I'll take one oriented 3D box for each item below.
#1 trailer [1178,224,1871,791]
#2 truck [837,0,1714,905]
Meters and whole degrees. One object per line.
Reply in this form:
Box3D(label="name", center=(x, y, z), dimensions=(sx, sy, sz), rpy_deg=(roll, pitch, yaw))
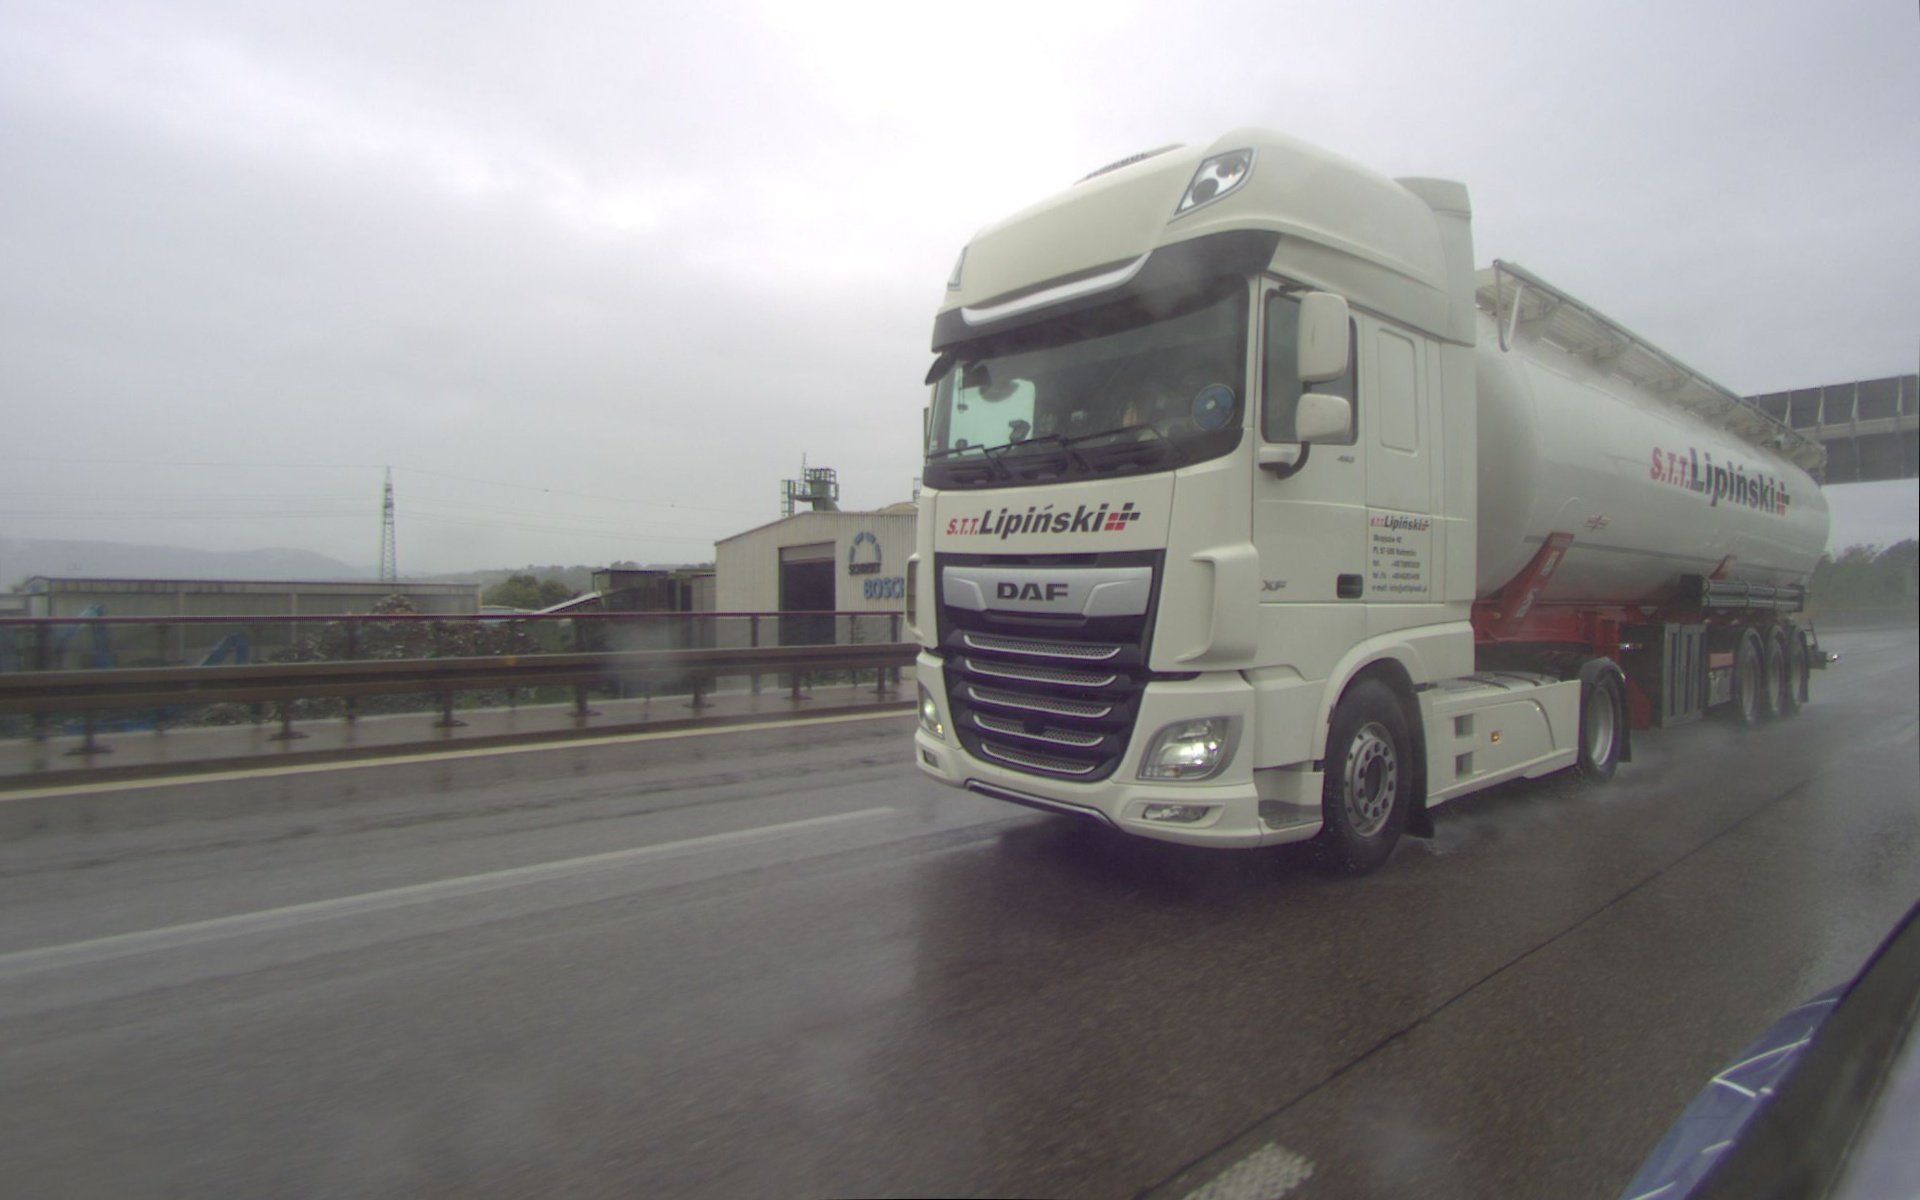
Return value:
Box3D(label="trailer", center=(7.330, -0.612, 11.607), dimensions=(11.462, 3.717, 3.193), rpy_deg=(0, -1, -41))
Box3D(label="truck", center=(2.884, -0.658, 7.726), dimensions=(7.086, 3.855, 3.109), rpy_deg=(0, -1, -41))
